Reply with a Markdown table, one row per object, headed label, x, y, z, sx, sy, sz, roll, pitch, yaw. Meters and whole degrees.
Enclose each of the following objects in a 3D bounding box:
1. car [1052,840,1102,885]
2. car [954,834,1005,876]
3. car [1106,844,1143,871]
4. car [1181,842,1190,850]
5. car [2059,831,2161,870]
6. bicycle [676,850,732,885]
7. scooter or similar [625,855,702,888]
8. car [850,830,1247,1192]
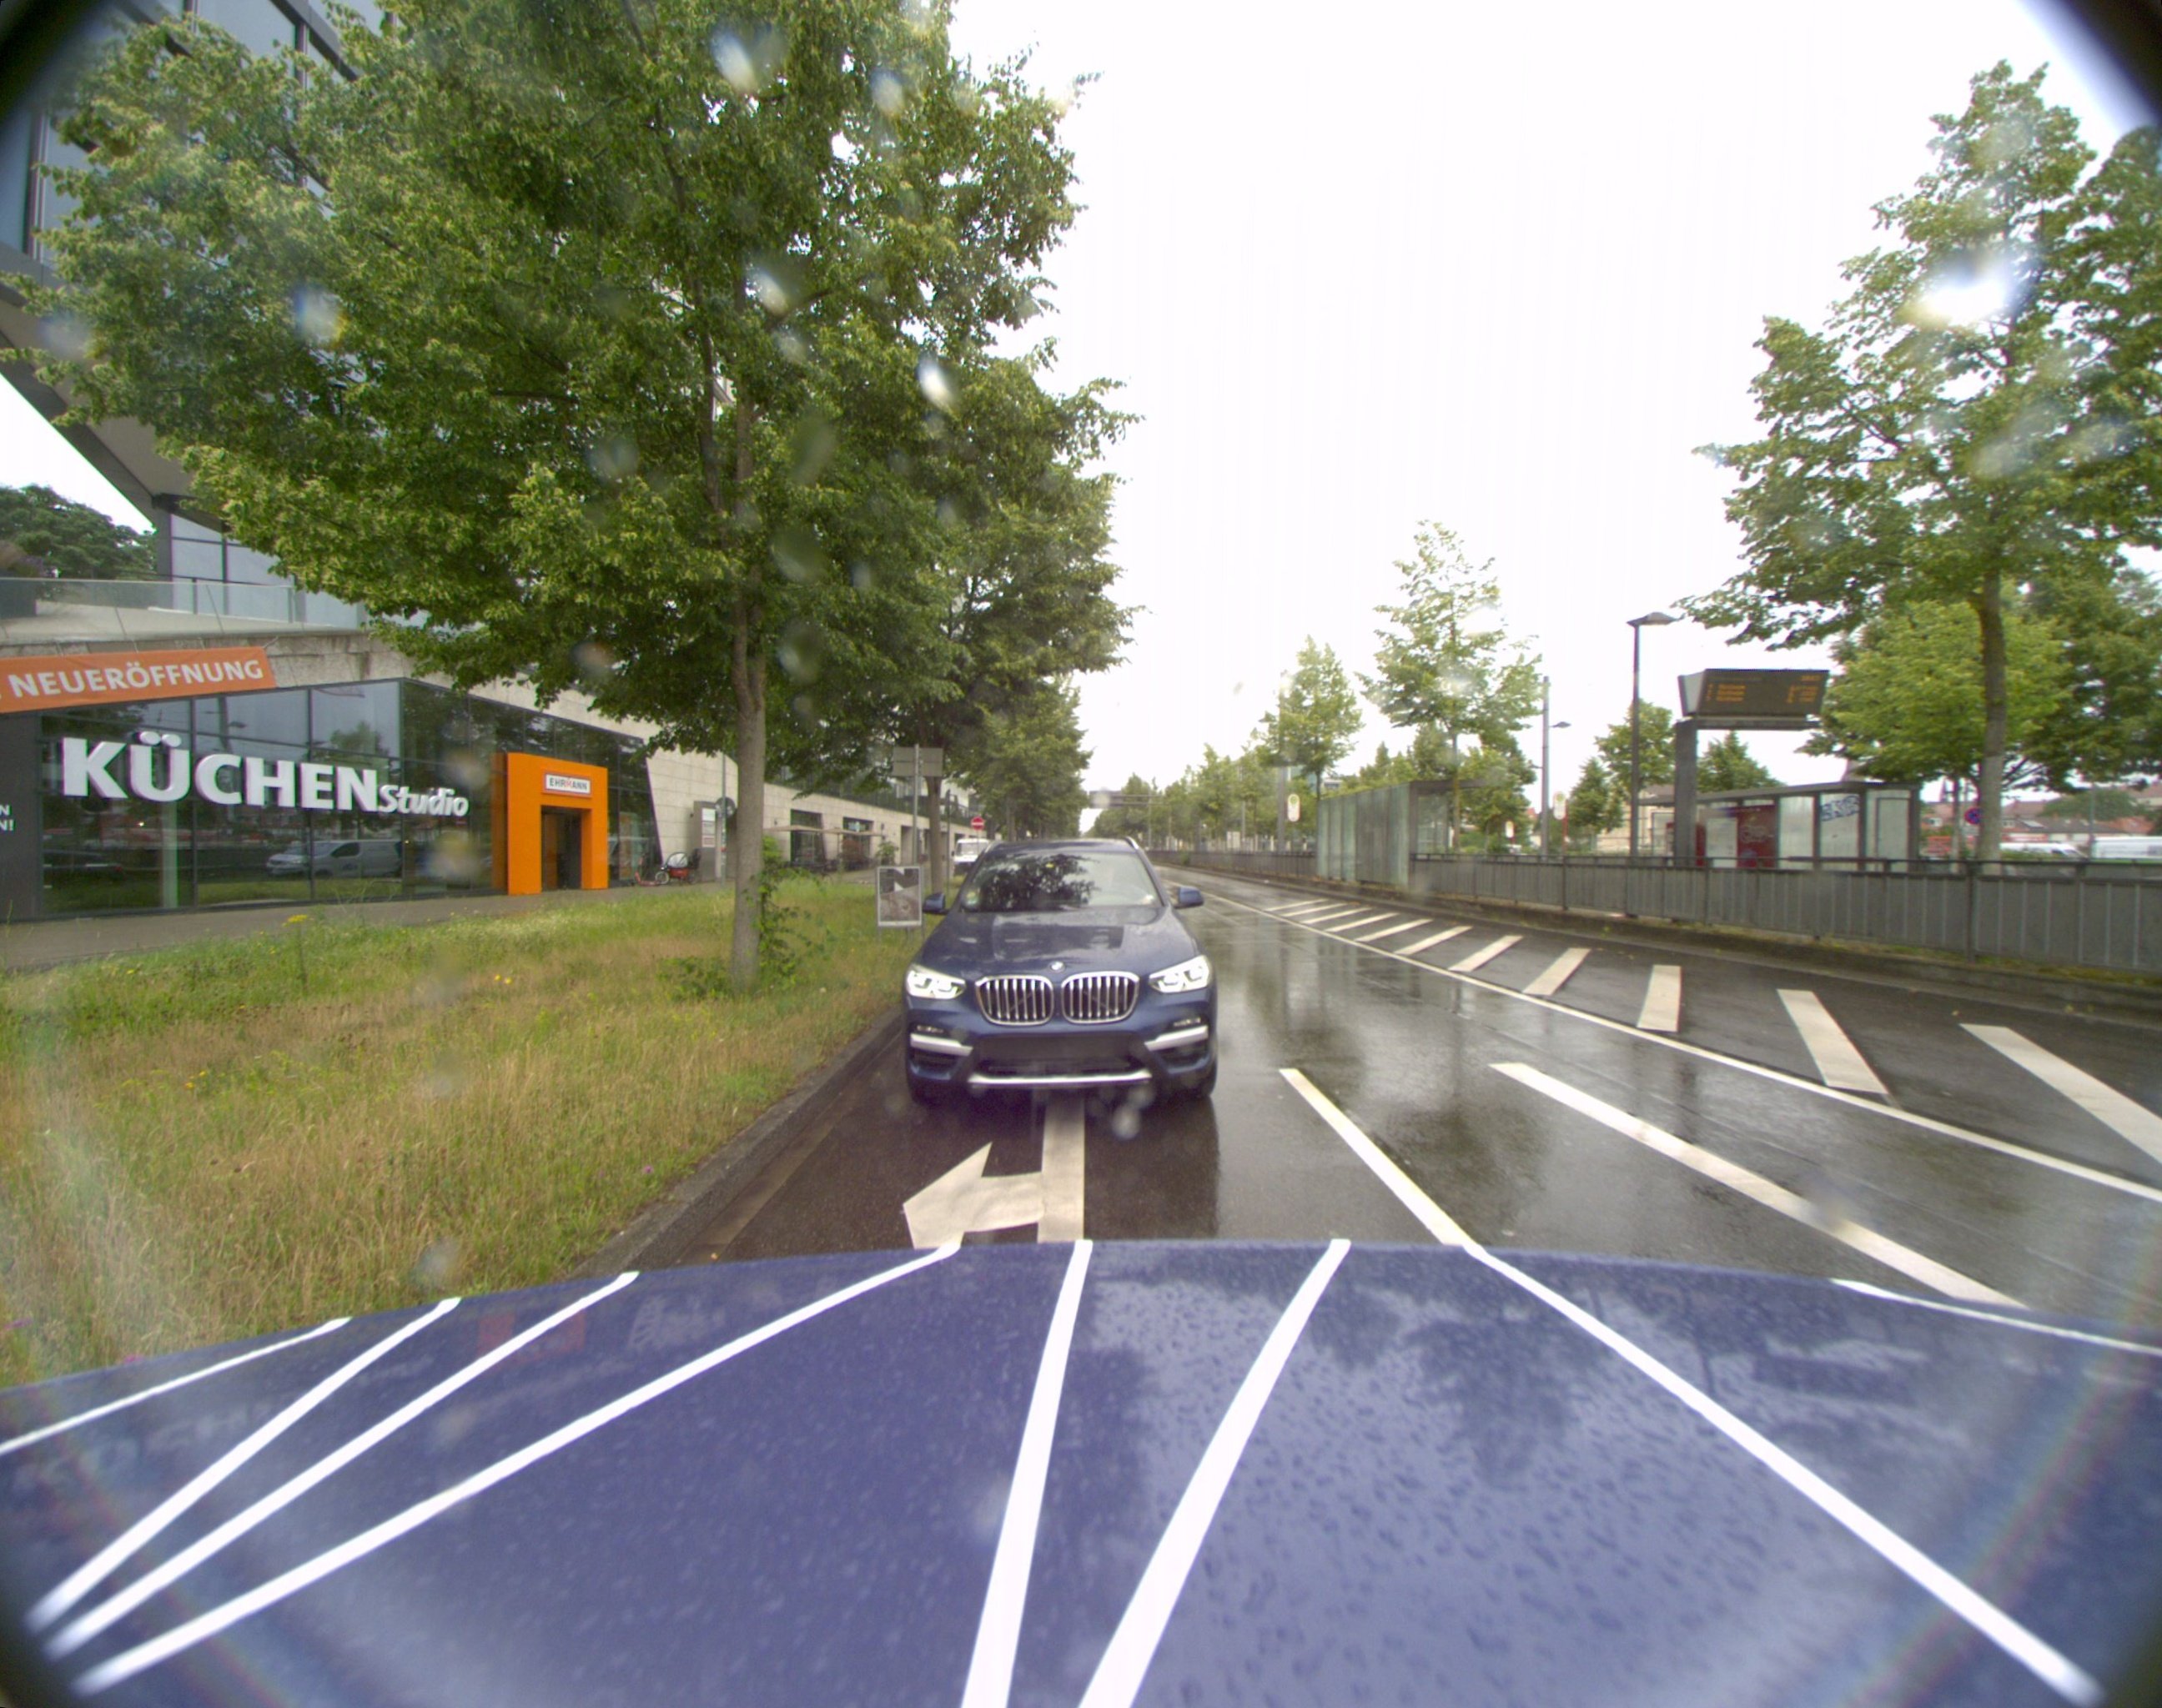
| label | x | y | z | sx | sy | sz | roll | pitch | yaw |
| --- | --- | --- | --- | --- | --- | --- | --- | --- | --- |
| car | -0.134 | 0.293 | 30.271 | 1.788 | 1.638 | 3.999 | -2 | 1 | 1 |
| car | -5.732 | 0.043 | 43.448 | 2.084 | 2.189 | 5.097 | -2 | 1 | 1 |
| car | 2.647 | 0.188 | 47.023 | 1.788 | 1.509 | 4.331 | -2 | 1 | -2 |
| car | 27.878 | -2.187 | 202.566 | 1.998 | 2.002 | 4.000 | -2 | 1 | 2 |
| car | 70.146 | -0.256 | 49.675 | 2.356 | 2.462 | 7.636 | -2 | 1 | -3 |
| bicycle | -15.399 | 0.533 | 31.140 | 0.882 | 1.339 | 2.696 | -2 | 1 | 1 |
| scooter or similar | -15.495 | 0.626 | 28.289 | 0.810 | 1.093 | 2.617 | -2 | 1 | 18 |
| car | -0.134 | 0.817 | 5.978 | 1.916 | 1.736 | 4.384 | -2 | -1 | 1 |
